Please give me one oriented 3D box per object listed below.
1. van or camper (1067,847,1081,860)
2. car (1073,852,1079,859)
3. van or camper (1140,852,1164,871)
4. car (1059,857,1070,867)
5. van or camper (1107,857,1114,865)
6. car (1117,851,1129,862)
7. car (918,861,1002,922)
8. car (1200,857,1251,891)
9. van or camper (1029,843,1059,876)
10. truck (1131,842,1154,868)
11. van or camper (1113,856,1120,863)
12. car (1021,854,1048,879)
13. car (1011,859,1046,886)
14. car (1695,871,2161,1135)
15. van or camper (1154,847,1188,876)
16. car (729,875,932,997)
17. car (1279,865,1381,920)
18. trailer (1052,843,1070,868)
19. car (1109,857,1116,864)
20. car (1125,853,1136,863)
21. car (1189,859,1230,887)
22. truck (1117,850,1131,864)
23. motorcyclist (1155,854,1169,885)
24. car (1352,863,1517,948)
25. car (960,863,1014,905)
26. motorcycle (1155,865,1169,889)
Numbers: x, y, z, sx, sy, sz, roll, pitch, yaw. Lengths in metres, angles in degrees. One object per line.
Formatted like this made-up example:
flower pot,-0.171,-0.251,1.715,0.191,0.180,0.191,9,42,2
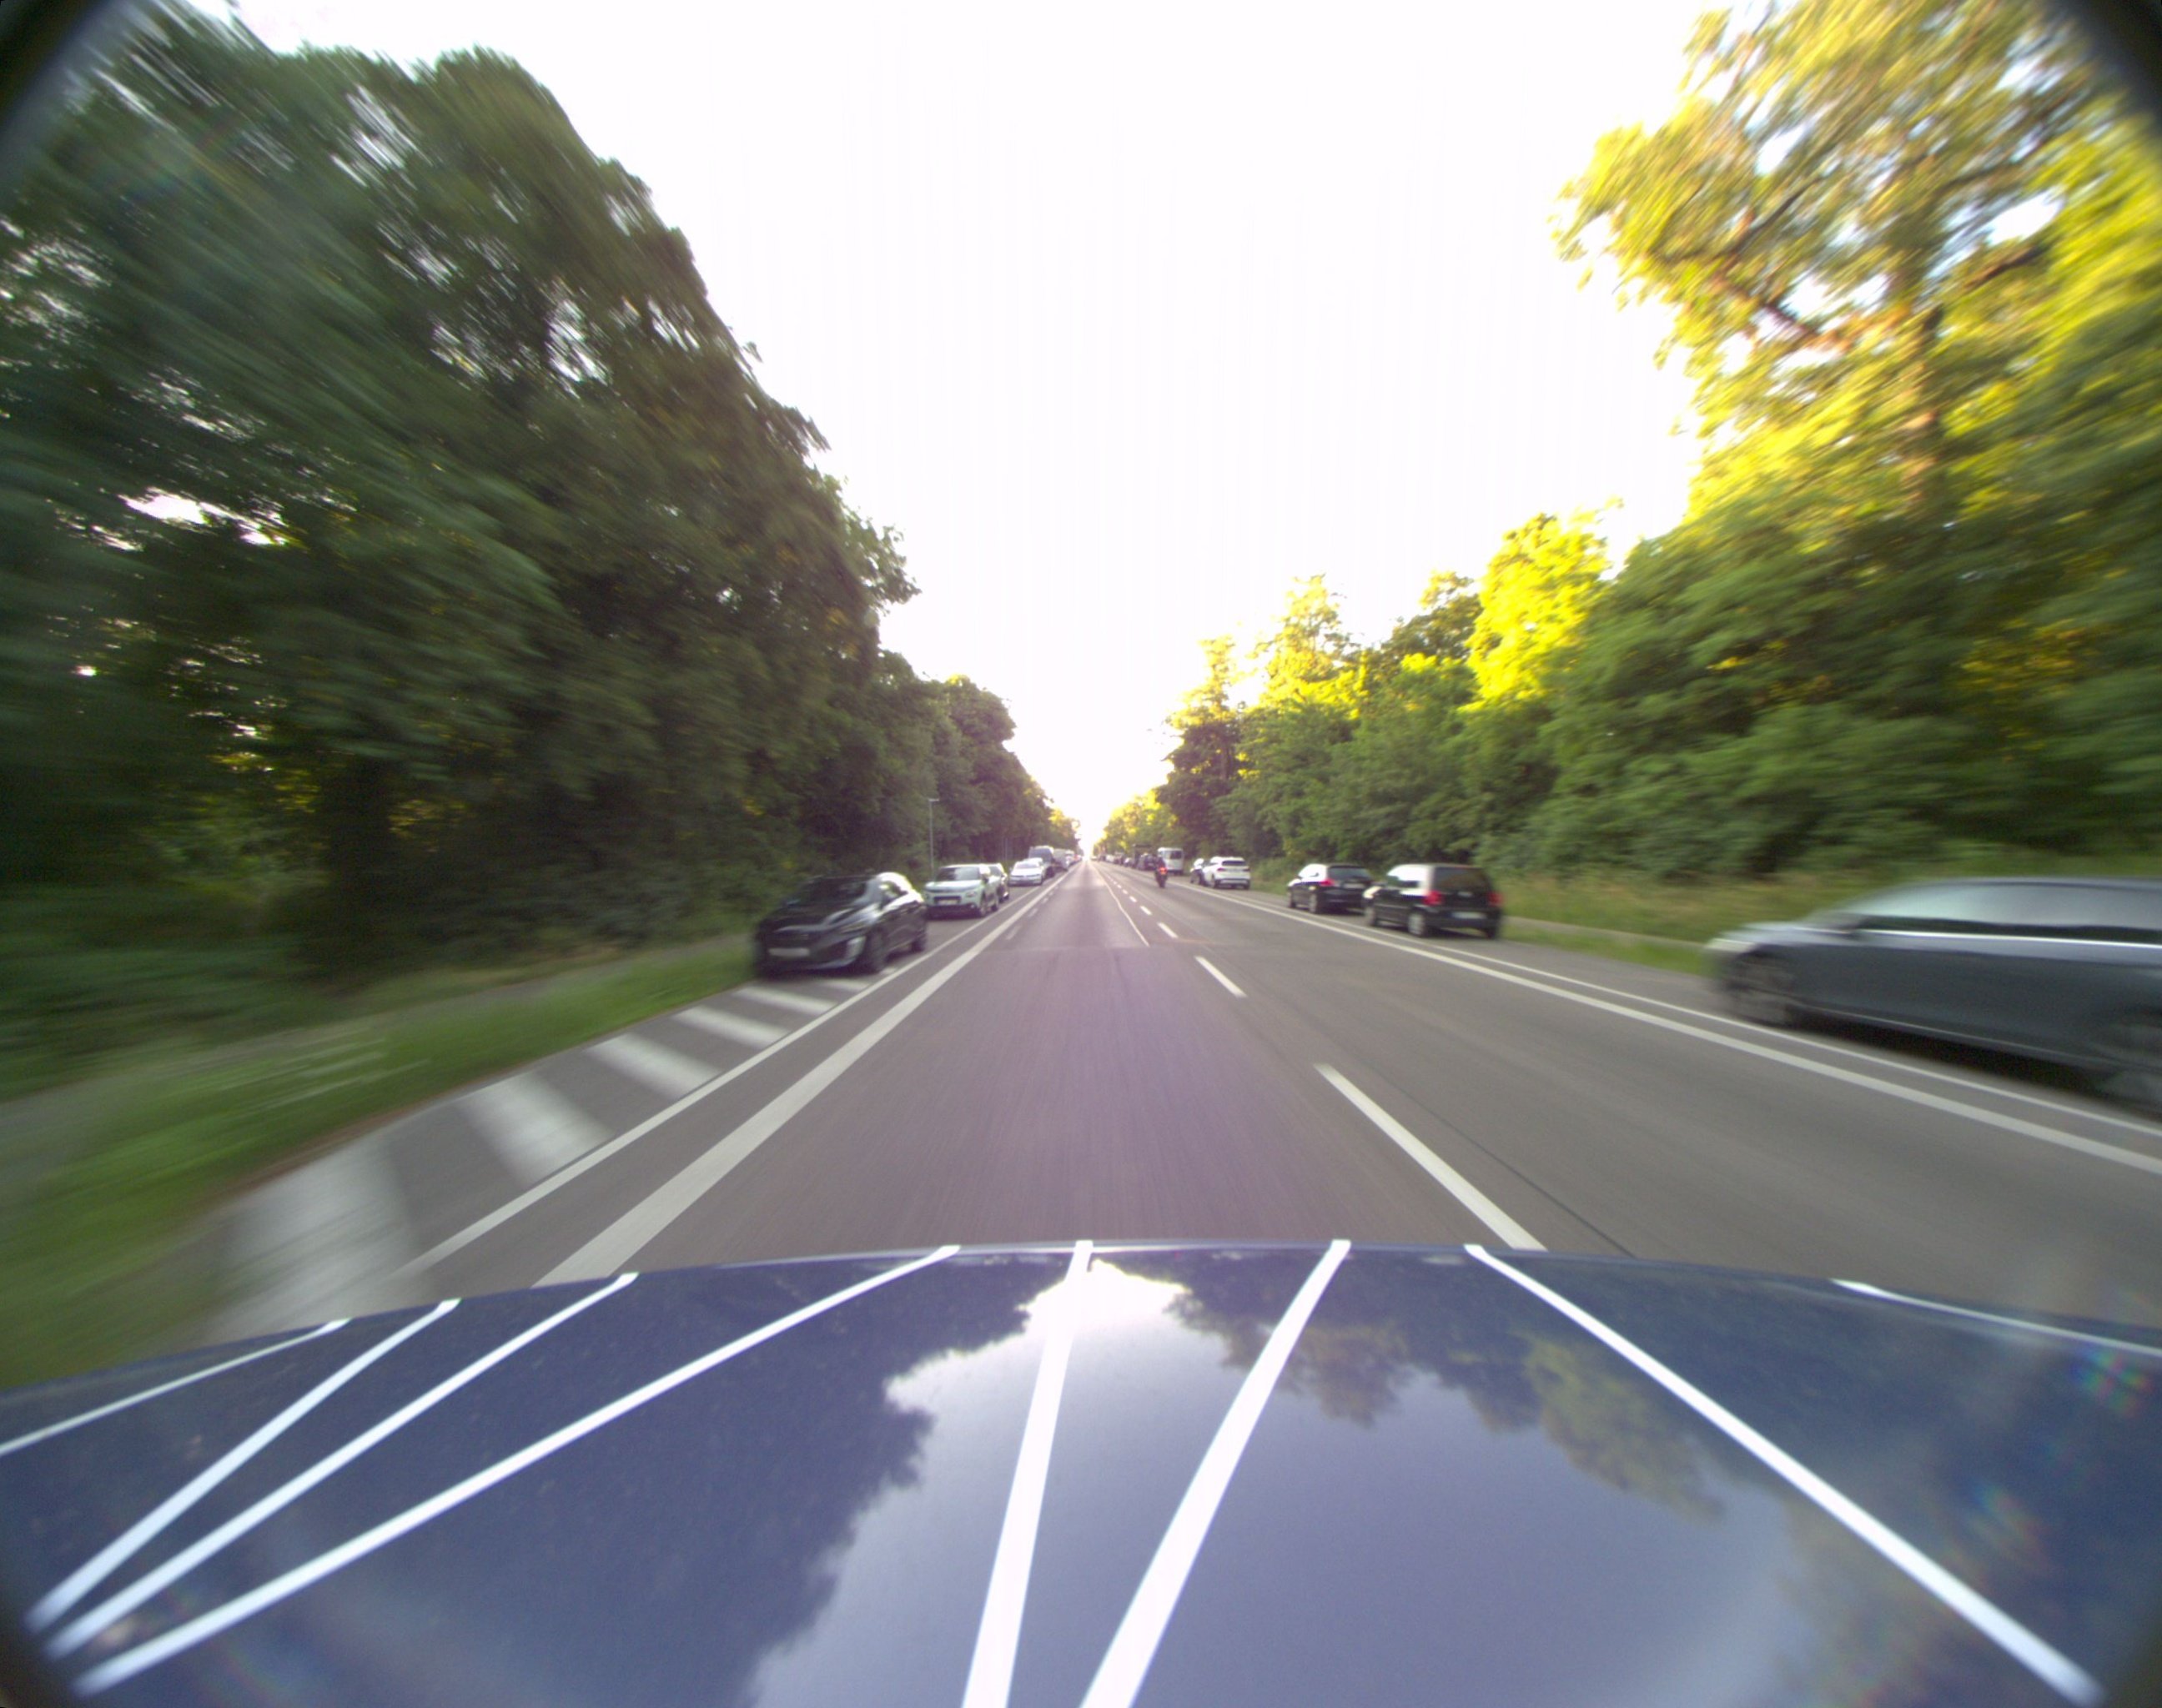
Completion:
van or camper,-1.584,-0.063,170.823,3.015,2.704,6.960,-1,0,1
car,-1.548,0.548,231.011,1.844,2.007,4.197,-1,0,1
van or camper,8.048,0.812,86.220,2.034,1.945,4.691,2,0,-2
car,-2.746,1.306,127.378,1.844,1.585,4.197,-1,0,1
van or camper,9.621,2.285,248.152,1.844,2.264,4.197,-1,0,1
car,7.834,0.541,141.888,1.852,1.948,3.935,2,0,-1
car,-3.391,1.006,22.057,1.693,1.537,4.112,-1,0,1
car,7.368,0.982,39.179,1.699,1.636,4.572,1,0,-1
van or camper,-3.037,0.450,63.501,2.132,2.526,6.060,-2,0,0
truck,7.995,0.082,99.497,2.226,3.188,6.270,2,0,-1
van or camper,9.736,1.445,209.526,1.844,1.965,4.197,-1,0,1
car,-3.437,0.914,56.984,1.856,1.754,4.724,-3,0,-2
car,-3.105,1.052,45.771,1.848,1.485,4.758,-2,0,-2
car,7.124,0.910,5.486,1.850,1.454,4.228,1,0,-2
van or camper,7.847,0.654,66.845,2.116,2.376,6.381,2,0,-1
car,-3.658,1.117,11.929,1.715,1.436,4.122,-2,0,1
car,7.044,1.038,21.893,1.601,1.386,4.051,0,0,0
trailer,-2.252,0.168,86.357,1.866,2.633,4.269,-2,1,0
car,9.247,1.851,222.749,1.998,1.893,4.000,-2,0,1
car,7.780,0.617,119.831,1.606,1.495,3.760,2,0,3
car,7.459,1.060,44.285,1.676,1.511,3.735,1,0,-1
truck,9.676,0.624,171.441,2.654,3.038,5.800,-2,0,1
motorcyclist,4.030,0.752,37.898,0.605,1.520,0.995,-1,0,3
car,7.169,0.969,15.826,1.716,1.500,3.656,1,0,0
car,-3.525,1.089,29.119,1.583,1.438,3.961,-1,0,0
motorcycle,4.027,1.112,37.835,0.612,1.120,1.962,-1,0,3
